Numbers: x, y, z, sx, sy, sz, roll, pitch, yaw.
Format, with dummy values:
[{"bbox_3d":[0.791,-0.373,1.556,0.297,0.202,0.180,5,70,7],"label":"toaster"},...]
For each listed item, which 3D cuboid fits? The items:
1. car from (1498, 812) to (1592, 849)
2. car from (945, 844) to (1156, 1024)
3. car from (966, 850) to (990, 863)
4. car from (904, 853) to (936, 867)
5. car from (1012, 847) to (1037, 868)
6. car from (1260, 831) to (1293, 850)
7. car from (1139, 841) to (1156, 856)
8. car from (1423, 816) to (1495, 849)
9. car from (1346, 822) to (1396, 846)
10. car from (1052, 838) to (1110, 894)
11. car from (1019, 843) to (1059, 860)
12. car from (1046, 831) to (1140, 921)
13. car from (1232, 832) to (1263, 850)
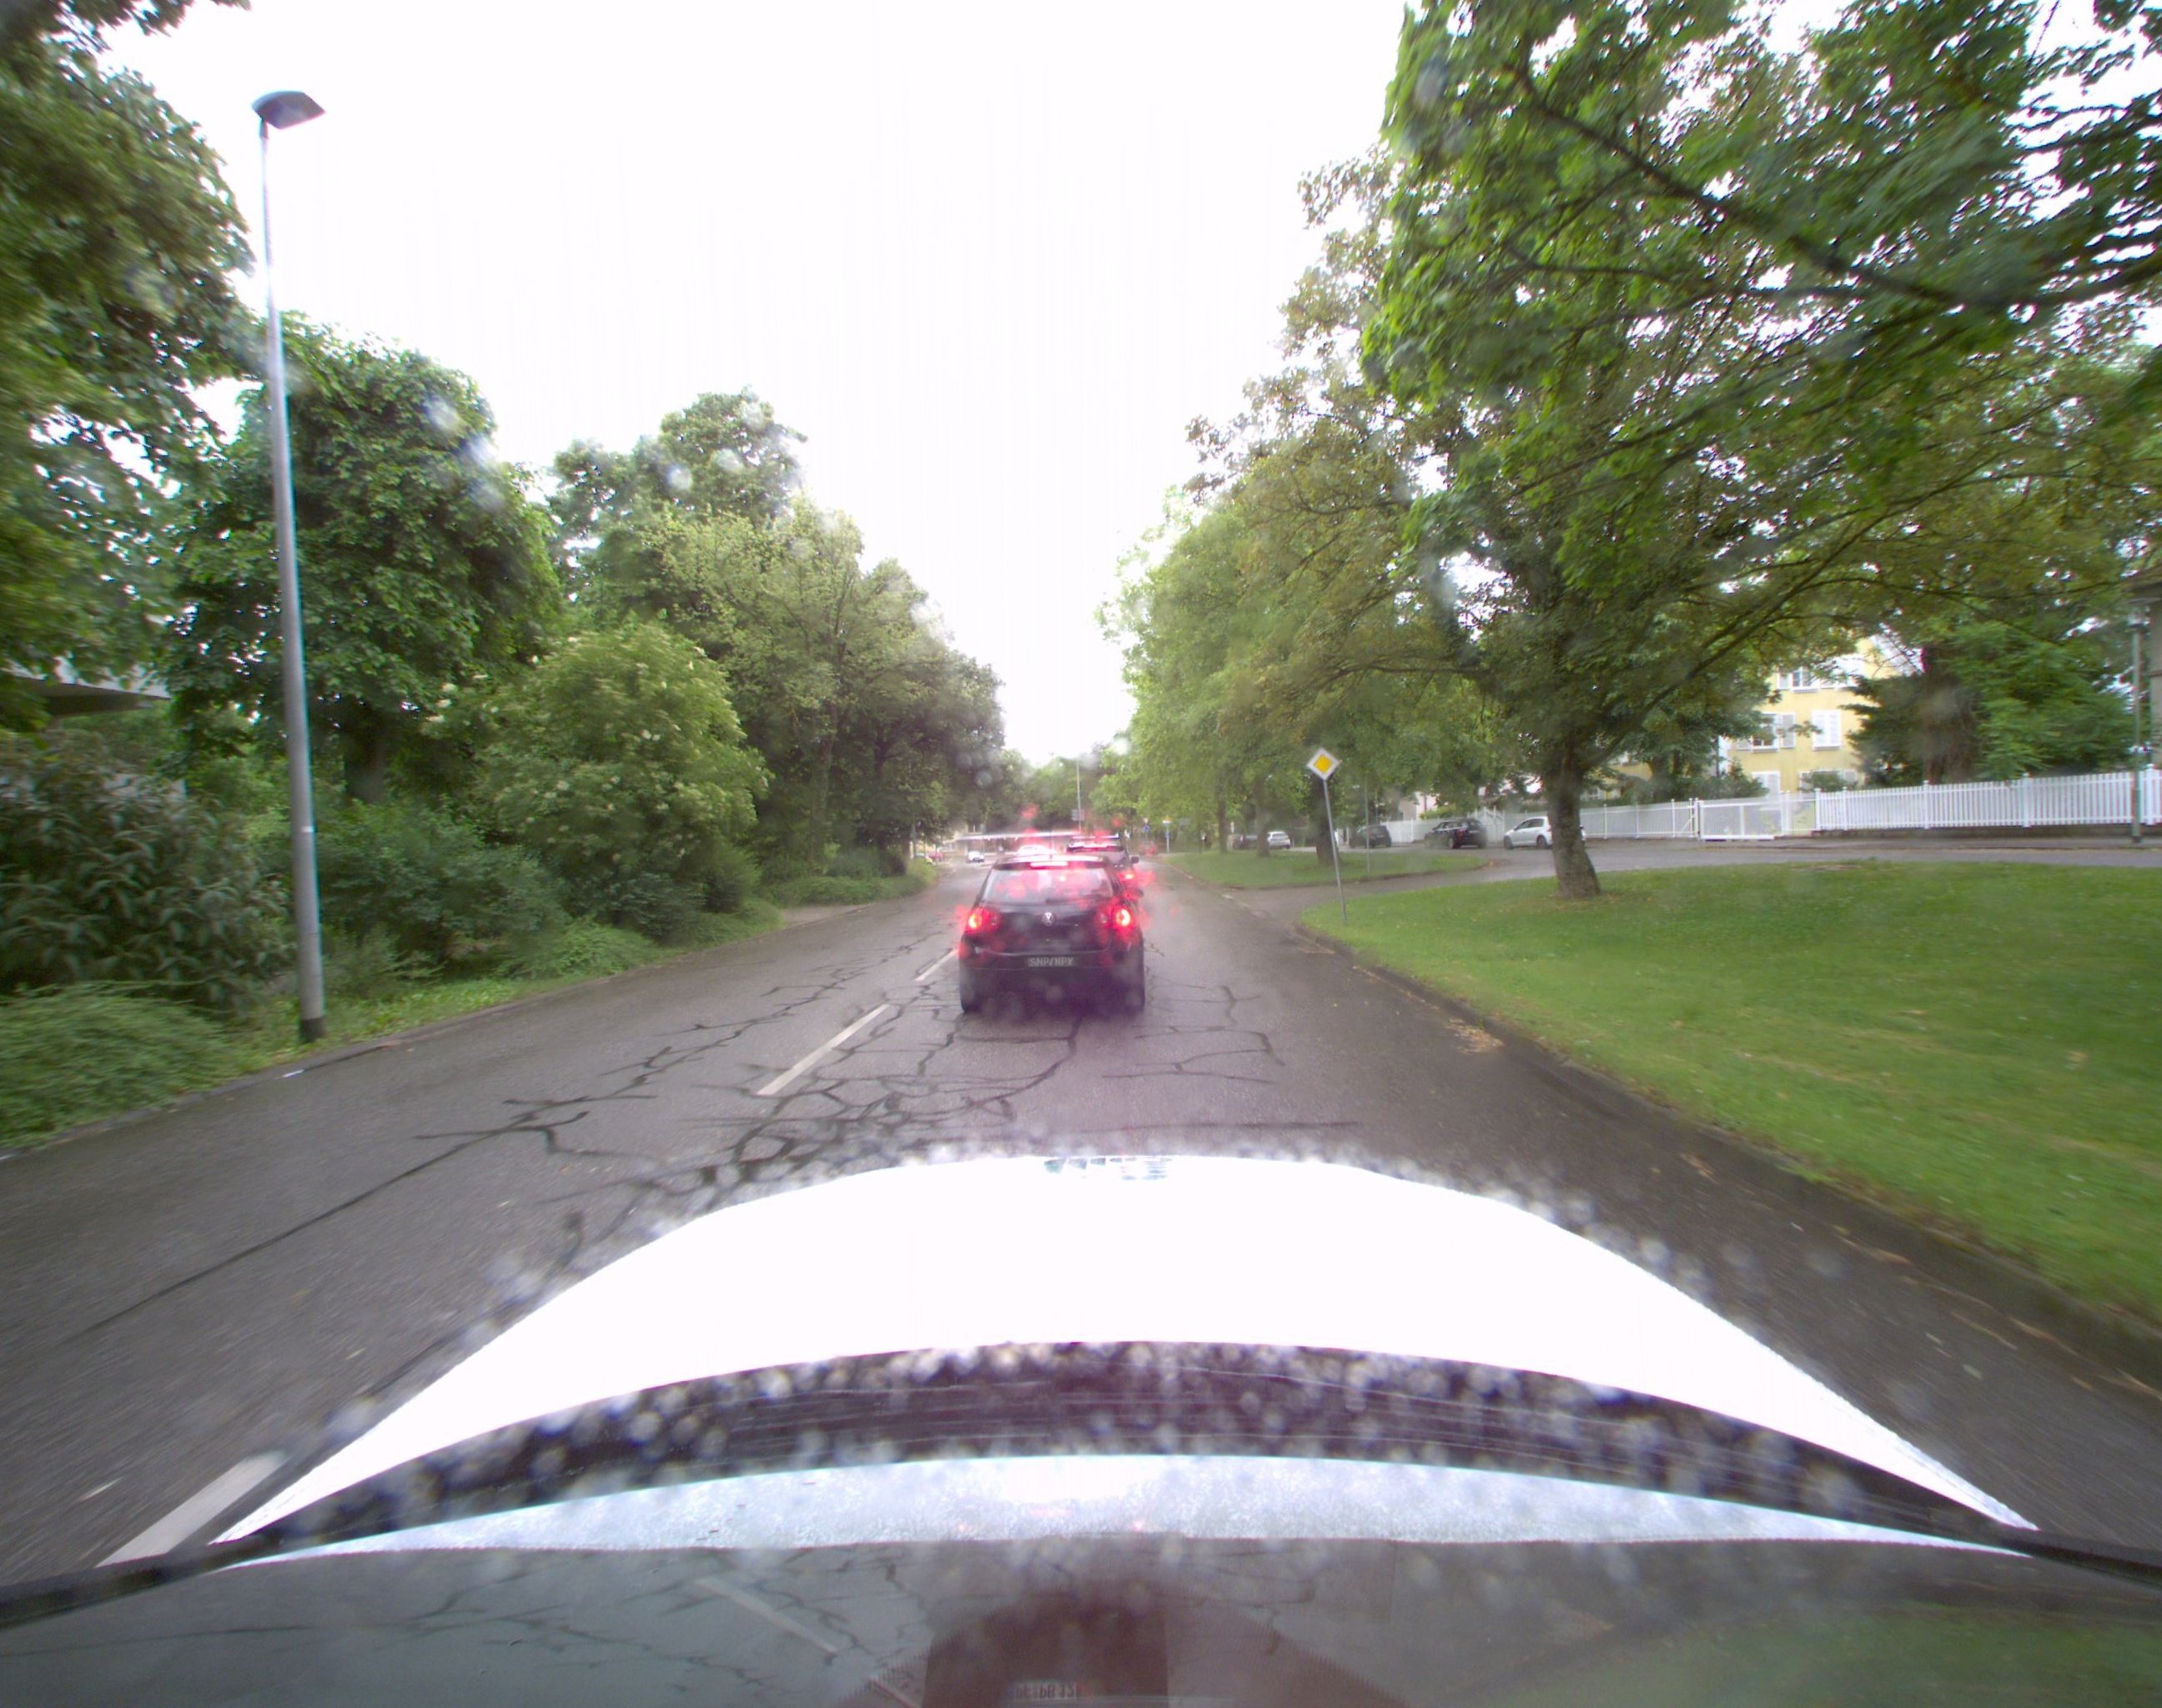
[{"bbox_3d":[20.132,-1.008,35.517,1.612,1.409,4.006,-4,1,-3],"label":"car"},{"bbox_3d":[-0.189,0.668,8.894,1.792,1.515,3.756,-1,1,2],"label":"car"},{"bbox_3d":[-12.141,0.302,95.688,1.804,1.393,3.950,-5,1,-21],"label":"car"},{"bbox_3d":[-16.935,0.650,85.858,3.120,1.310,1.535,-4,0,-10],"label":"car"},{"bbox_3d":[-4.331,0.268,62.155,1.607,1.427,3.998,-3,1,-8],"label":"car"},{"bbox_3d":[16.303,-1.127,68.041,1.796,1.406,4.002,-4,1,2],"label":"car"},{"bbox_3d":[7.337,-0.633,89.882,1.697,1.513,3.680,-3,0,6],"label":"car"},{"bbox_3d":[19.870,-1.118,42.993,1.796,1.529,4.111,-4,1,-1],"label":"car"},{"bbox_3d":[19.581,-1.359,55.108,1.796,1.411,4.111,-4,1,-1],"label":"car"},{"bbox_3d":[0.062,0.388,29.204,1.848,1.784,4.002,-3,0,2],"label":"car"},{"bbox_3d":[-4.375,-0.248,85.295,3.769,1.618,1.782,-2,0,8],"label":"car"},{"bbox_3d":[0.324,0.425,18.775,1.848,1.784,4.003,-3,1,2],"label":"car"},{"bbox_3d":[13.822,-1.090,67.882,1.796,1.385,4.002,-4,1,2],"label":"car"}]
